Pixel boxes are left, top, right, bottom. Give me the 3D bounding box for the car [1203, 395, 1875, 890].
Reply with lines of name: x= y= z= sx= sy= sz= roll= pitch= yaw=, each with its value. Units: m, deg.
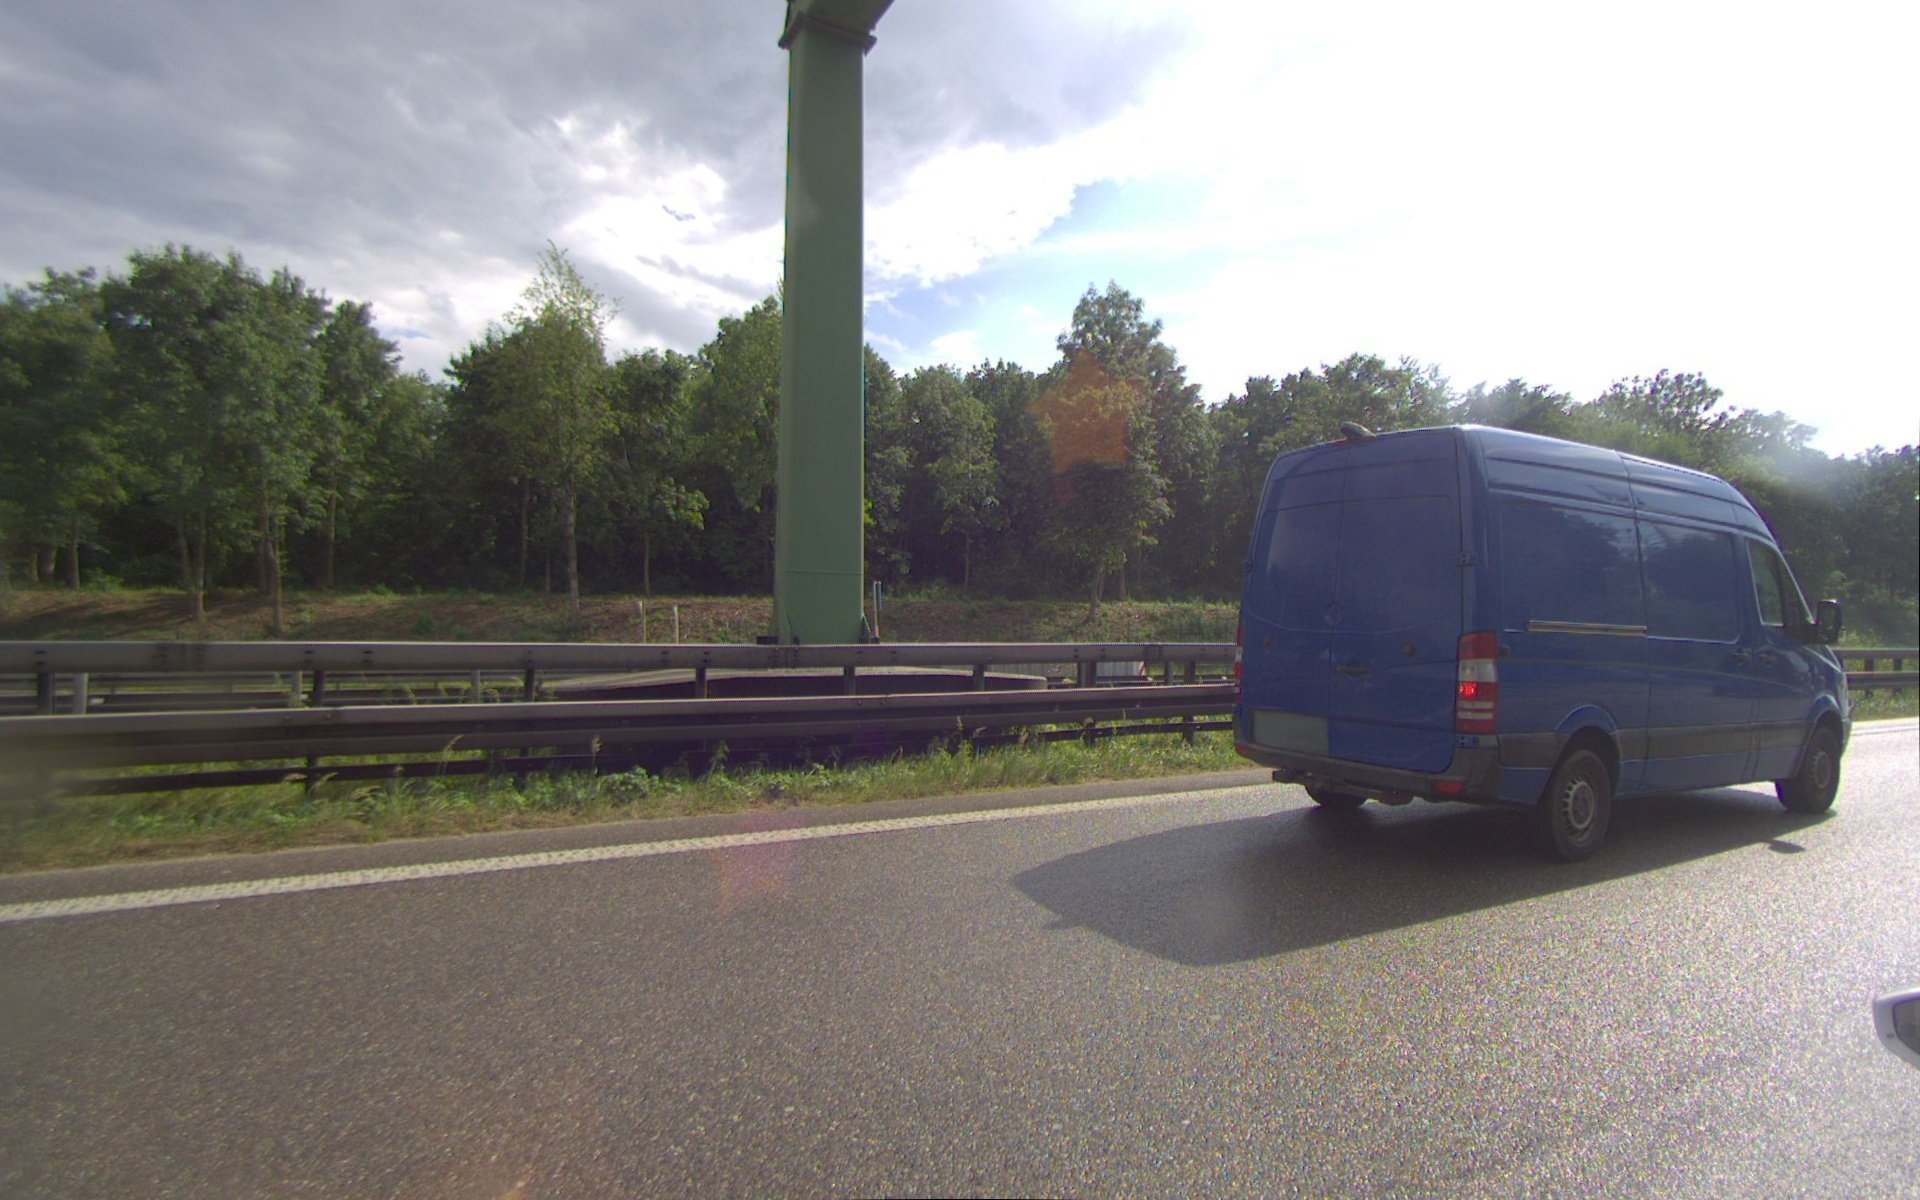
car: x=4.705 y=0.299 z=7.796 sx=5.711 sy=2.684 sz=2.005 roll=2 pitch=0 yaw=-31
